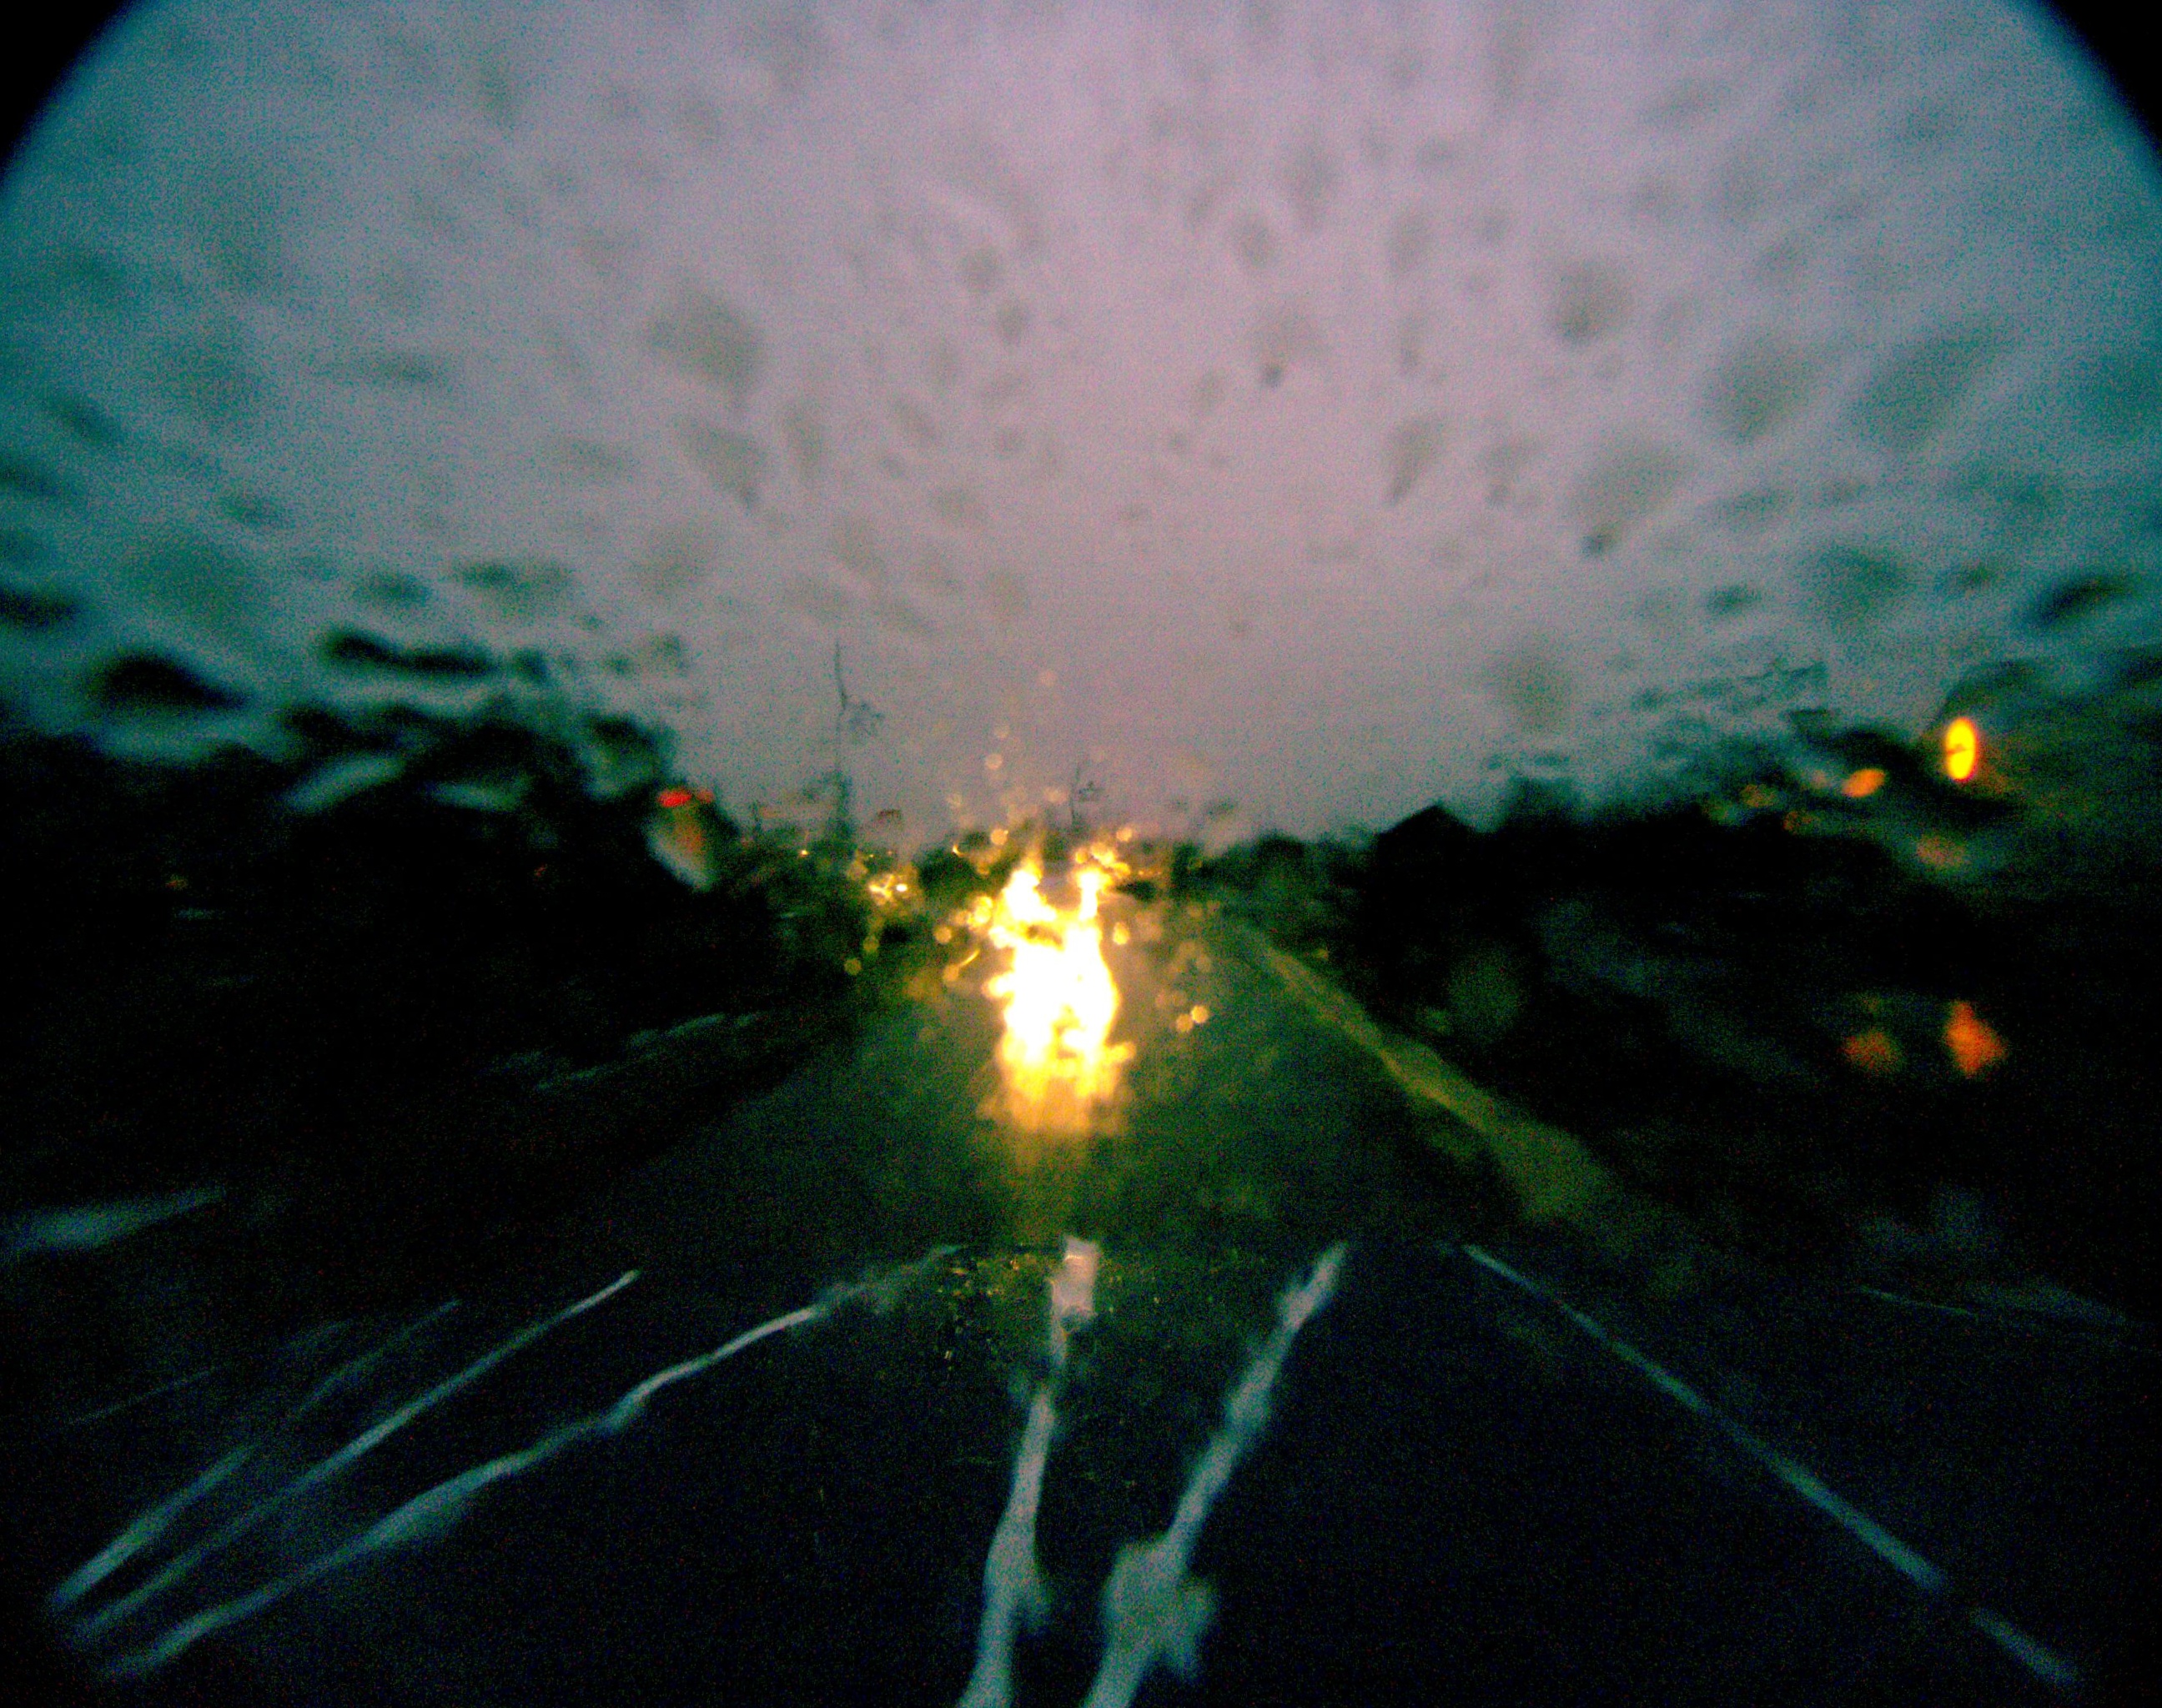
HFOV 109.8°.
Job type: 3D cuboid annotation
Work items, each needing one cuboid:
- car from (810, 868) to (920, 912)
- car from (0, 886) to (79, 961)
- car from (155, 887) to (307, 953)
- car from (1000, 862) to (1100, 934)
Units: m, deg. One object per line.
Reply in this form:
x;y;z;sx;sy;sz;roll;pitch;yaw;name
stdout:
-8.021;1.341;28.222;3.702;1.483;1.665;-2;0;26;car
-29.979;1.889;20.171;2.372;1.854;5.318;0;0;-32;car
-28.731;2.130;25.915;1.941;1.907;5.236;-3;-1;-31;car
-0.889;0.973;18.643;1.811;1.452;4.241;-2;1;-11;car
